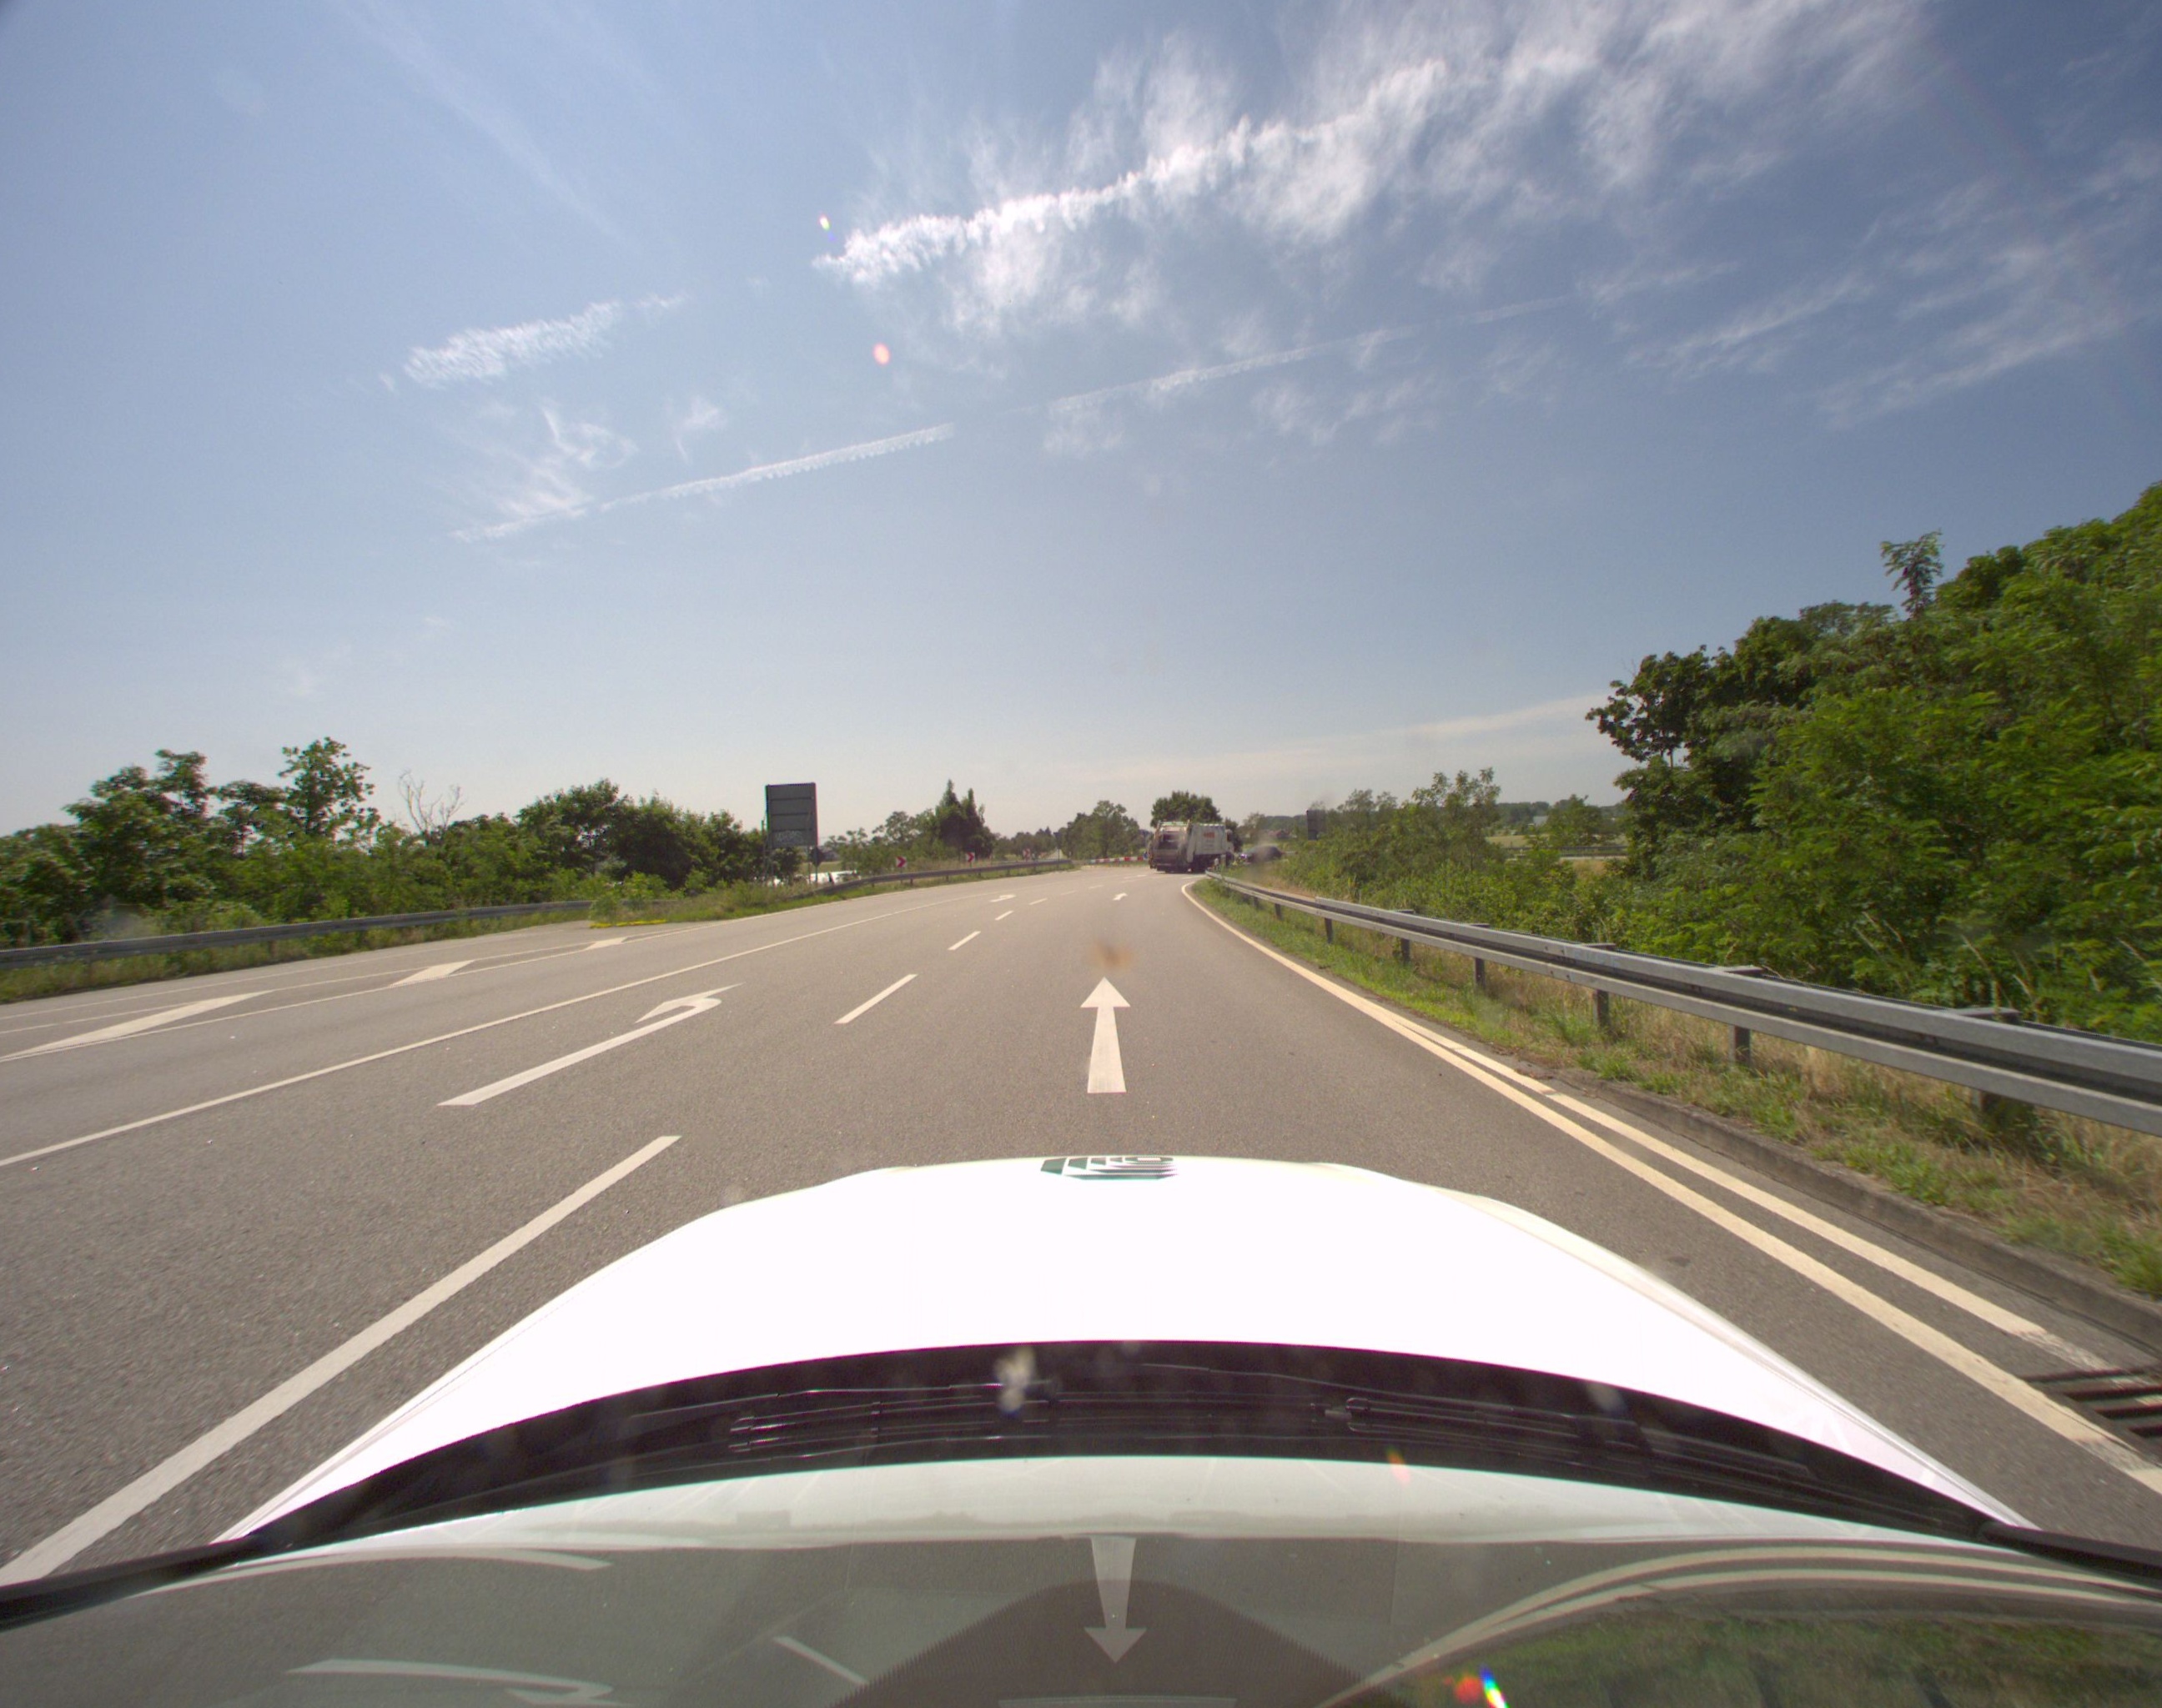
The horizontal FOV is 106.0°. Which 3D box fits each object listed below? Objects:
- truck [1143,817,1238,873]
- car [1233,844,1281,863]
[{"bbox_3d":[8.139,-0.611,58.952,2.786,3.669,10.011,-1,0,33],"label":"truck"},{"bbox_3d":[15.630,-0.075,72.203,4.590,1.657,1.697,-1,1,-39],"label":"car"}]
